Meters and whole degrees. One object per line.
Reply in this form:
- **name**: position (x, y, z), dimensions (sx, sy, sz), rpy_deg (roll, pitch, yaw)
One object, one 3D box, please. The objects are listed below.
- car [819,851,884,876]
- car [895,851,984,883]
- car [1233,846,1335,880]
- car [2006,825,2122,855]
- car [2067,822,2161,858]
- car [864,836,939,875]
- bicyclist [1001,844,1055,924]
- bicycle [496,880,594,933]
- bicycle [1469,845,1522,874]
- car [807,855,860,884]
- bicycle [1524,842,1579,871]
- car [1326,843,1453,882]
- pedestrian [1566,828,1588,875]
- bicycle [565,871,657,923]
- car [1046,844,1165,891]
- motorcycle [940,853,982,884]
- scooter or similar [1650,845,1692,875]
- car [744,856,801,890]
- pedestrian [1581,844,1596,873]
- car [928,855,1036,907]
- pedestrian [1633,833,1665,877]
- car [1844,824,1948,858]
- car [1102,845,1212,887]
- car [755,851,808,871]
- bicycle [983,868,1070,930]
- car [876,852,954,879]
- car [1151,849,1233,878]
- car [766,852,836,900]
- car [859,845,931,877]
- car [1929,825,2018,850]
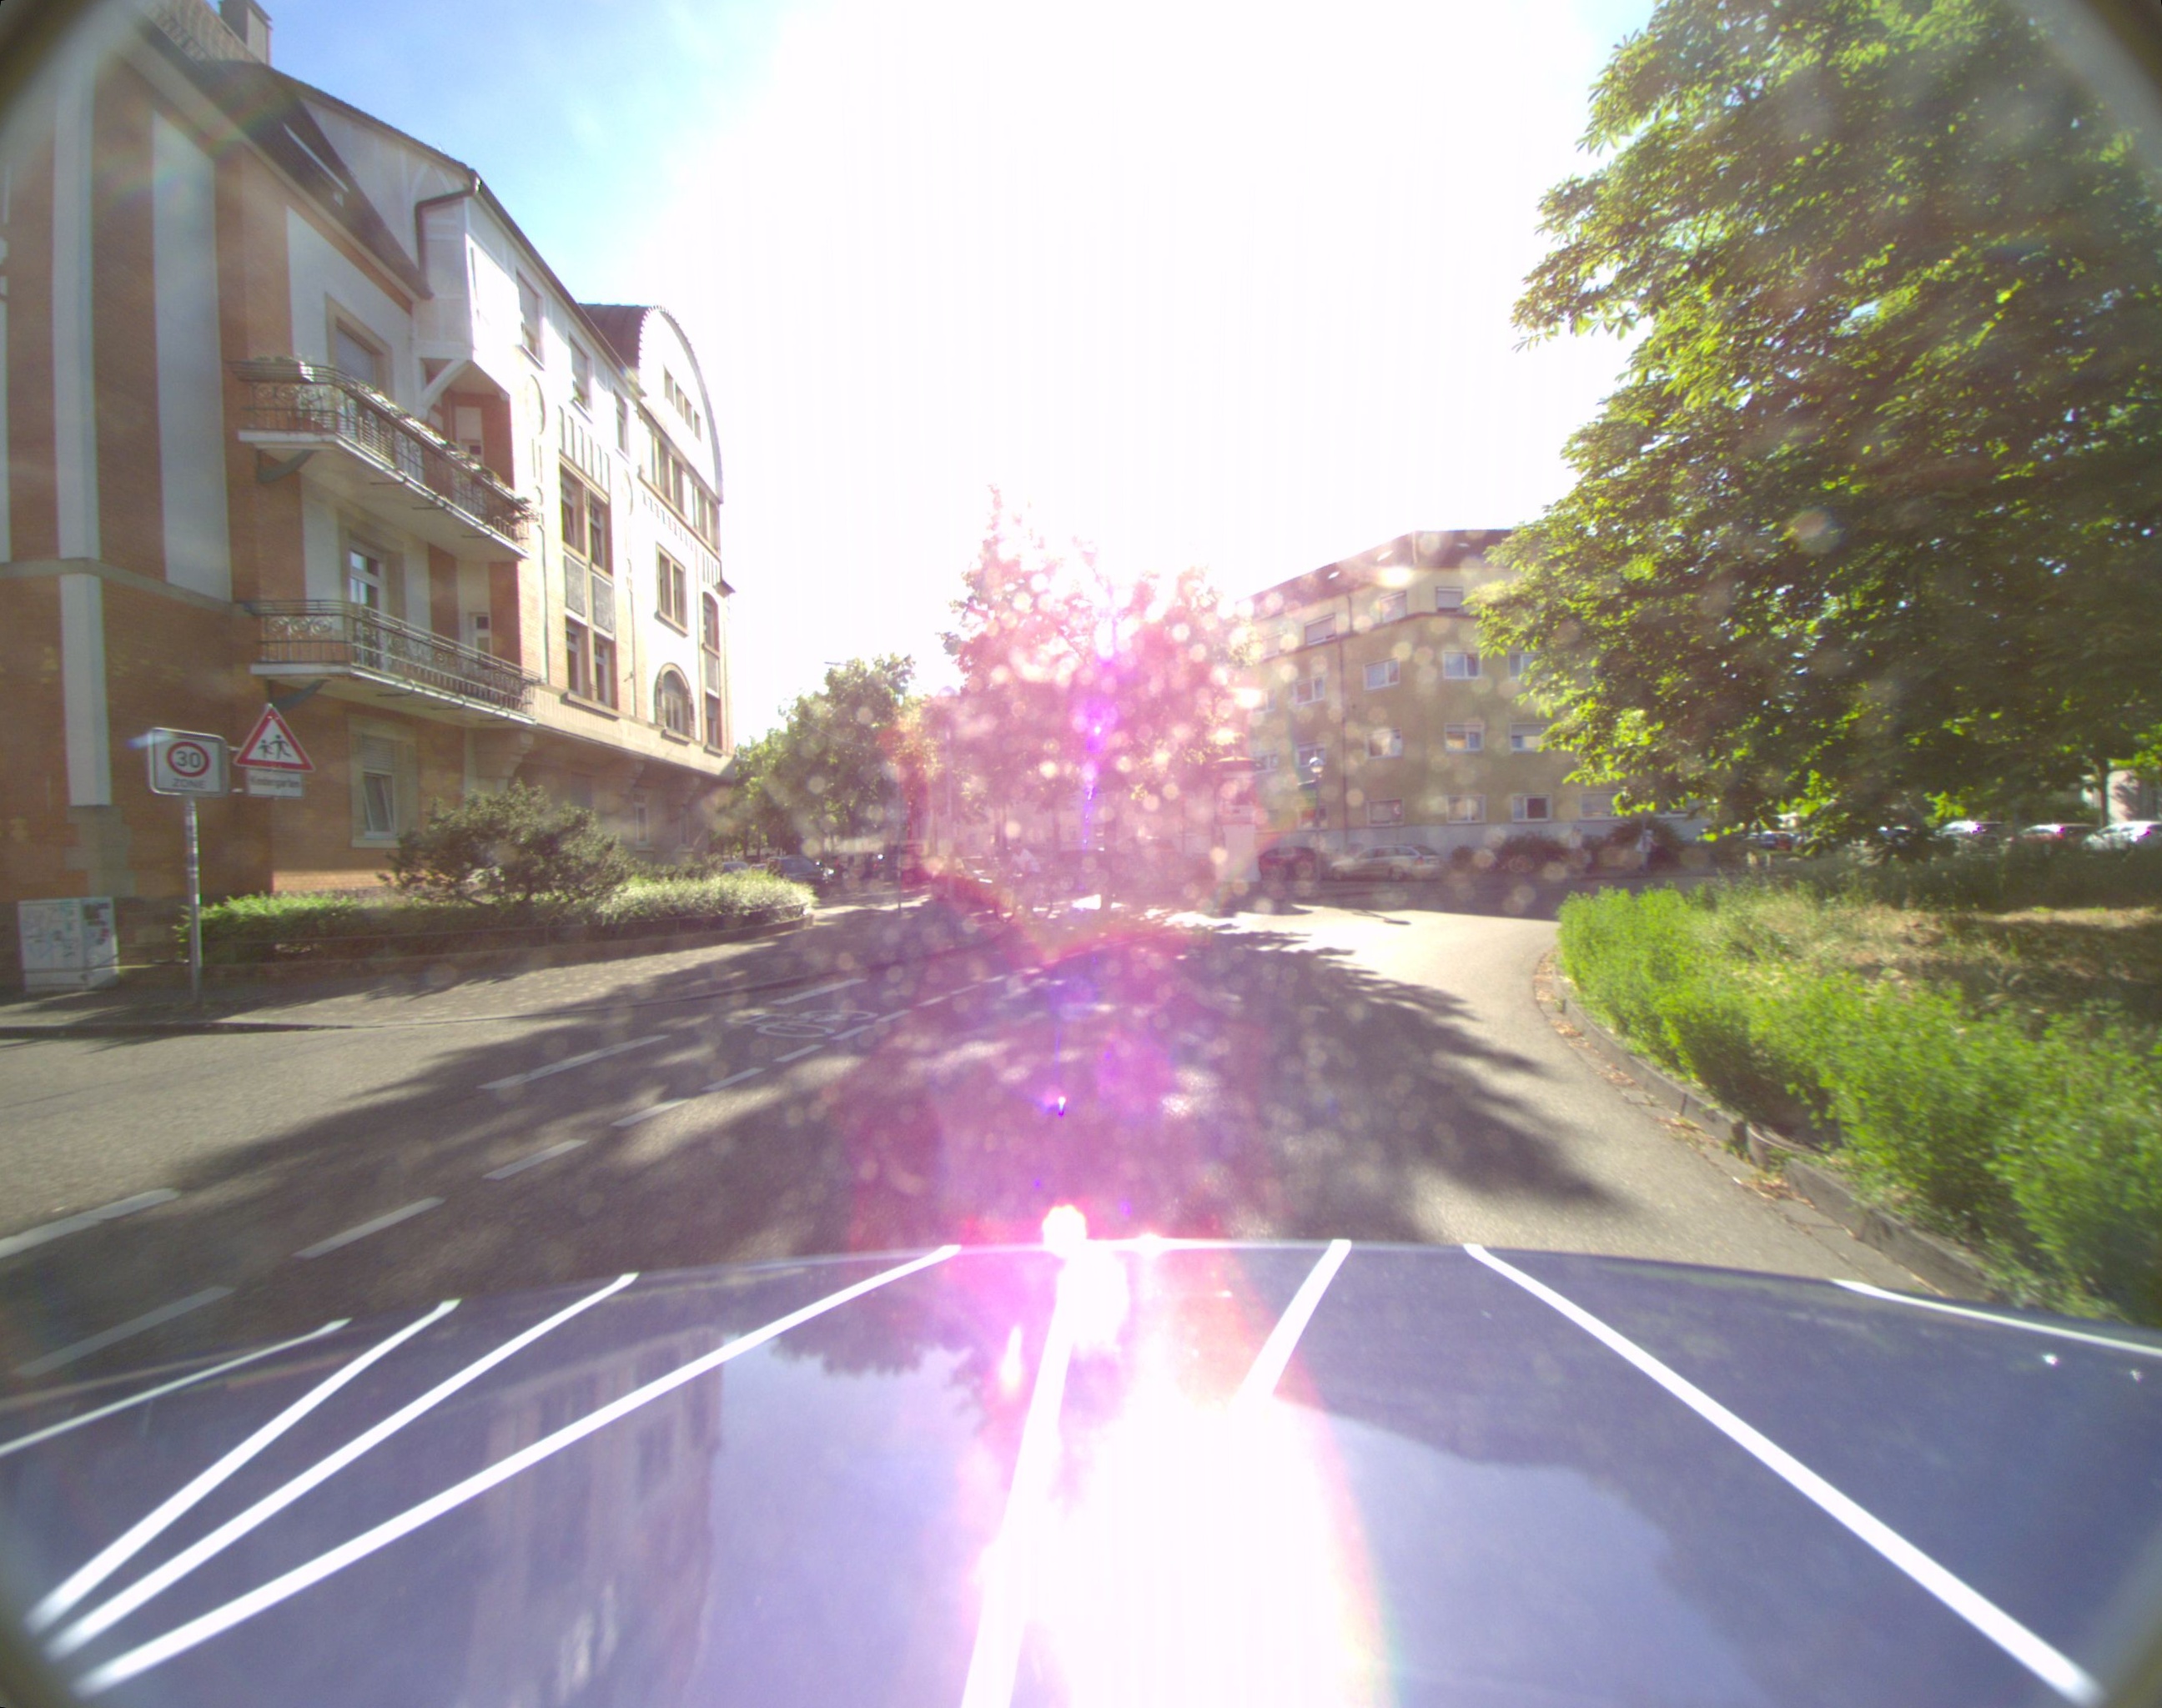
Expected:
- **car**: position (-16.363, 0.689, 54.359), dimensions (3.995, 1.624, 1.824), rpy_deg (-2, 1, 4)
- **car**: position (-7.030, 0.618, 37.952), dimensions (3.995, 1.433, 1.824), rpy_deg (-2, 0, 4)
- **car**: position (9.146, 0.410, 34.590), dimensions (1.738, 1.430, 4.376), rpy_deg (-2, 0, -34)
- **car**: position (45.382, -0.631, 35.202), dimensions (1.796, 1.248, 3.725), rpy_deg (-2, 0, 25)
- **car**: position (43.549, -0.602, 31.448), dimensions (1.795, 1.404, 4.007), rpy_deg (-1, 0, 27)
- **car**: position (-12.207, 0.080, 51.855), dimensions (4.591, 2.476, 1.986), rpy_deg (-2, 1, 0)
- **bicyclist**: position (-1.163, 0.641, 16.632), dimensions (0.763, 1.686, 0.814), rpy_deg (-1, 1, 41)
- **bicycle**: position (-11.477, 1.114, 16.303), dimensions (1.674, 1.065, 0.500), rpy_deg (-1, 1, -5)
- **bicycle**: position (16.638, 0.235, 30.515), dimensions (0.501, 1.101, 1.795), rpy_deg (-2, 1, -44)
- **car**: position (-13.889, 0.864, 42.567), dimensions (1.801, 1.427, 4.199), rpy_deg (-3, 1, -32)
- **bicycle**: position (18.247, 0.102, 29.488), dimensions (1.795, 1.101, 0.501), rpy_deg (-1, 1, 31)
- **car**: position (12.149, 0.341, 30.208), dimensions (1.735, 1.403, 4.478), rpy_deg (-2, 0, -34)
- **pedestrian**: position (18.134, -0.088, 27.760), dimensions (0.607, 1.684, 0.555), rpy_deg (-2, 4, 35)
- **bicycle**: position (-11.591, 1.042, 18.779), dimensions (1.800, 1.205, 0.595), rpy_deg (-1, 1, -10)
- **car**: position (0.914, 0.455, 26.576), dimensions (3.995, 1.464, 1.760), rpy_deg (-2, 0, 6)
- **motorcycle**: position (-5.459, 0.650, 34.637), dimensions (0.726, 1.340, 1.804), rpy_deg (-1, 1, 38)
- **scooter or similar**: position (20.716, 0.219, 26.694), dimensions (0.897, 1.017, 0.919), rpy_deg (-2, 1, 20)
- **car**: position (-15.202, 0.911, 37.358), dimensions (1.801, 1.445, 4.199), rpy_deg (-5, 2, -32)
- **pedestrian**: position (18.764, 0.153, 28.083), dimensions (0.405, 1.034, 0.377), rpy_deg (-2, 4, 35)
- **car**: position (-3.273, 0.806, 24.371), dimensions (1.801, 1.427, 4.199), rpy_deg (-3, 1, -32)
- **pedestrian**: position (19.941, 0.021, 26.683), dimensions (0.696, 1.515, 0.651), rpy_deg (-2, 1, 20)
- **car**: position (37.616, -0.600, 35.193), dimensions (1.800, 1.403, 4.006), rpy_deg (-2, 0, 24)
- **car**: position (2.873, 0.444, 28.809), dimensions (3.995, 1.464, 1.760), rpy_deg (-2, 0, 5)
- **car**: position (-26.810, 0.634, 68.138), dimensions (4.000, 1.677, 1.822), rpy_deg (-2, 1, -9)
- **bicycle**: position (-1.169, 0.950, 16.635), dimensions (0.763, 1.191, 1.873), rpy_deg (-1, 1, 41)
- **car**: position (-9.439, 0.643, 43.396), dimensions (3.995, 1.445, 1.824), rpy_deg (-2, 0, 4)
- **car**: position (5.727, 0.497, 39.743), dimensions (1.738, 1.430, 4.376), rpy_deg (-2, 0, -34)
- **car**: position (-11.873, 0.906, 32.048), dimensions (1.801, 1.757, 4.199), rpy_deg (-5, 2, -32)
- **car**: position (-11.830, 0.448, 48.445), dimensions (3.995, 1.887, 1.824), rpy_deg (-2, 1, 4)
- **car**: position (48.634, -0.881, 41.507), dimensions (1.796, 1.248, 3.725), rpy_deg (-2, 0, 25)
